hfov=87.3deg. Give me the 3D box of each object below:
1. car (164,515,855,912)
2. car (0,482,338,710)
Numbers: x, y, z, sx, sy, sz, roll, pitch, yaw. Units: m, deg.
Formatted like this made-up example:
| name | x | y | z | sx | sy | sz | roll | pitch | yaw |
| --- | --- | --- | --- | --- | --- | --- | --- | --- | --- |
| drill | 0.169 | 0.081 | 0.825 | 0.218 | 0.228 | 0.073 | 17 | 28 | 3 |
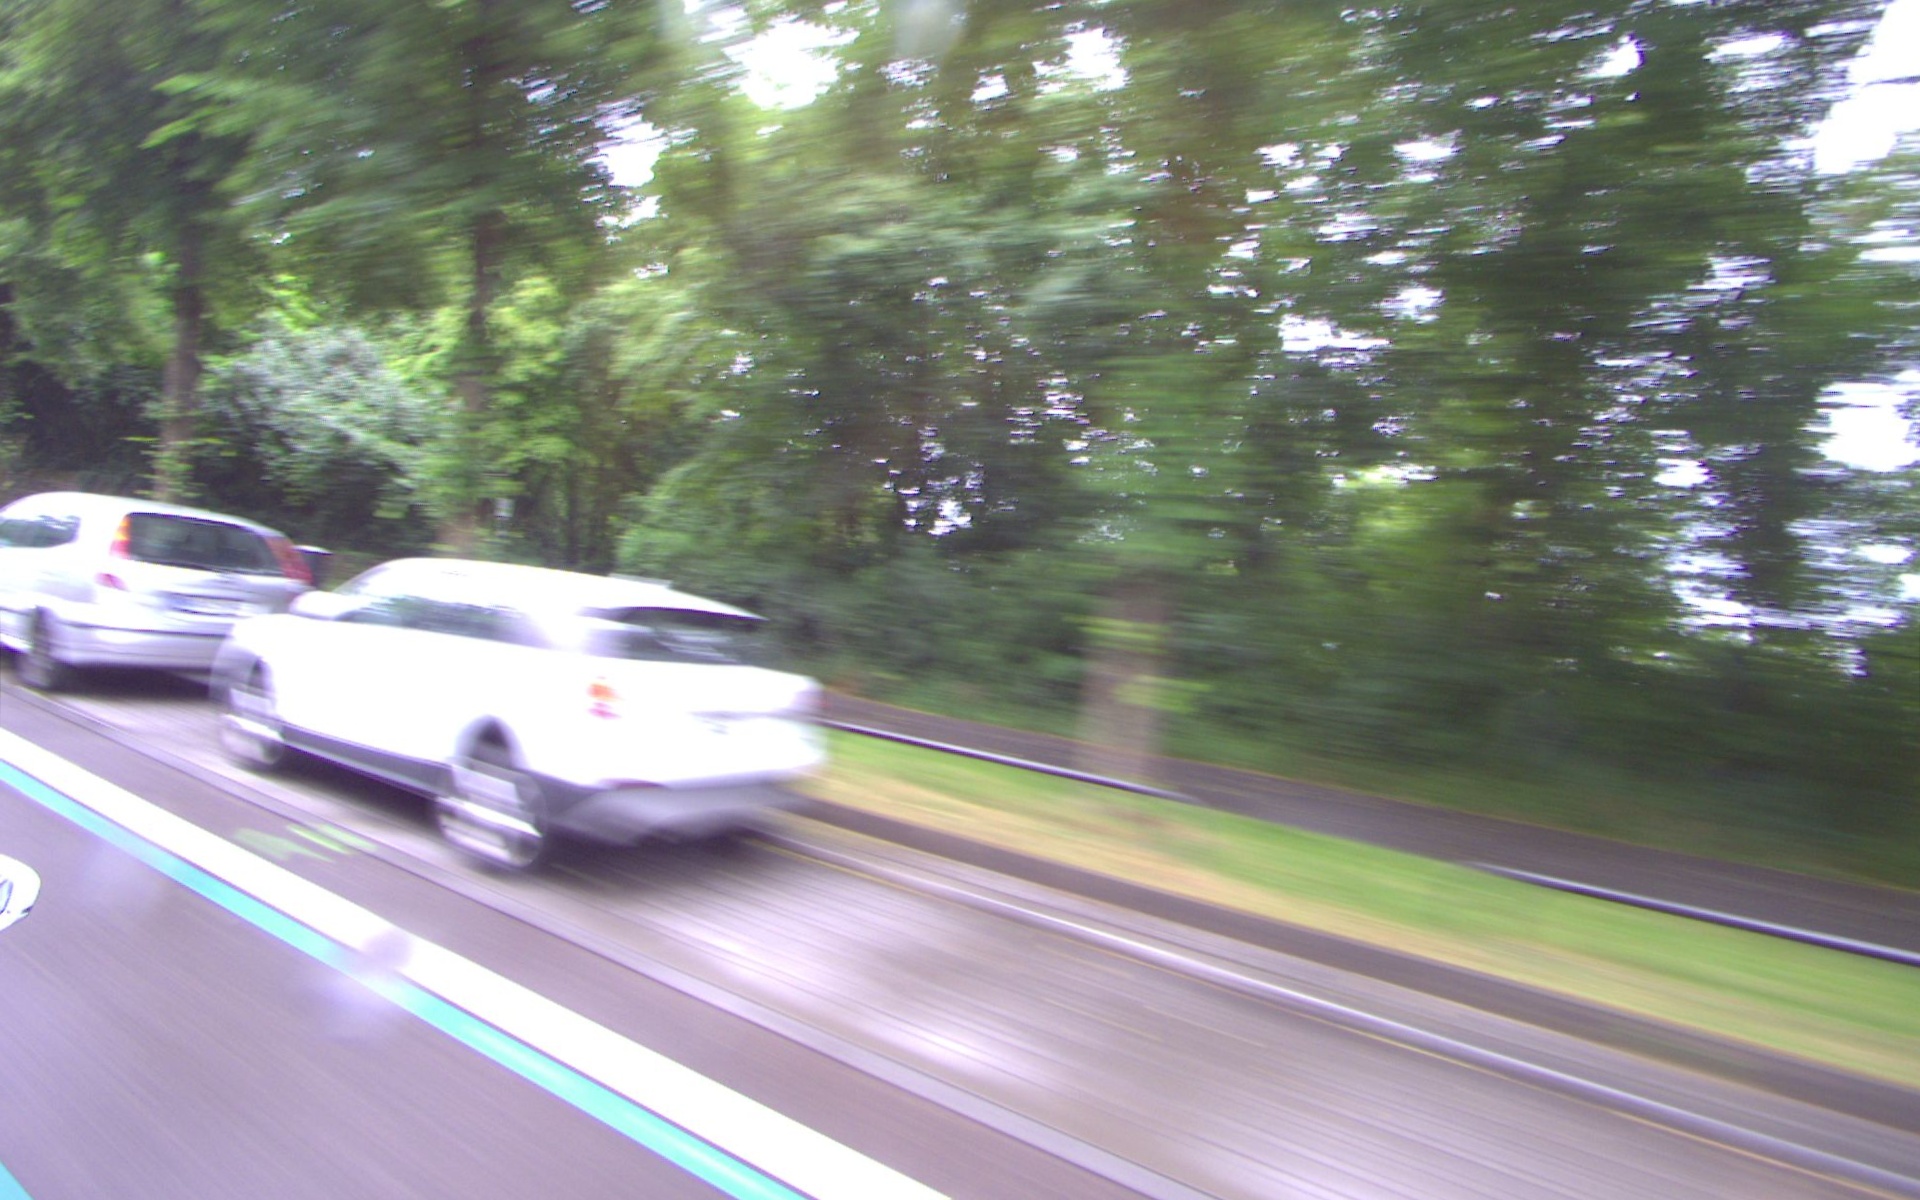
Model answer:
| name | x | y | z | sx | sy | sz | roll | pitch | yaw |
| --- | --- | --- | --- | --- | --- | --- | --- | --- | --- |
| car | -2.993 | 0.489 | 6.345 | 4.396 | 1.531 | 1.701 | 7 | -2 | 32 |
| car | -8.044 | -0.145 | 9.399 | 4.661 | 1.615 | 1.757 | 7 | -1 | 31 |
